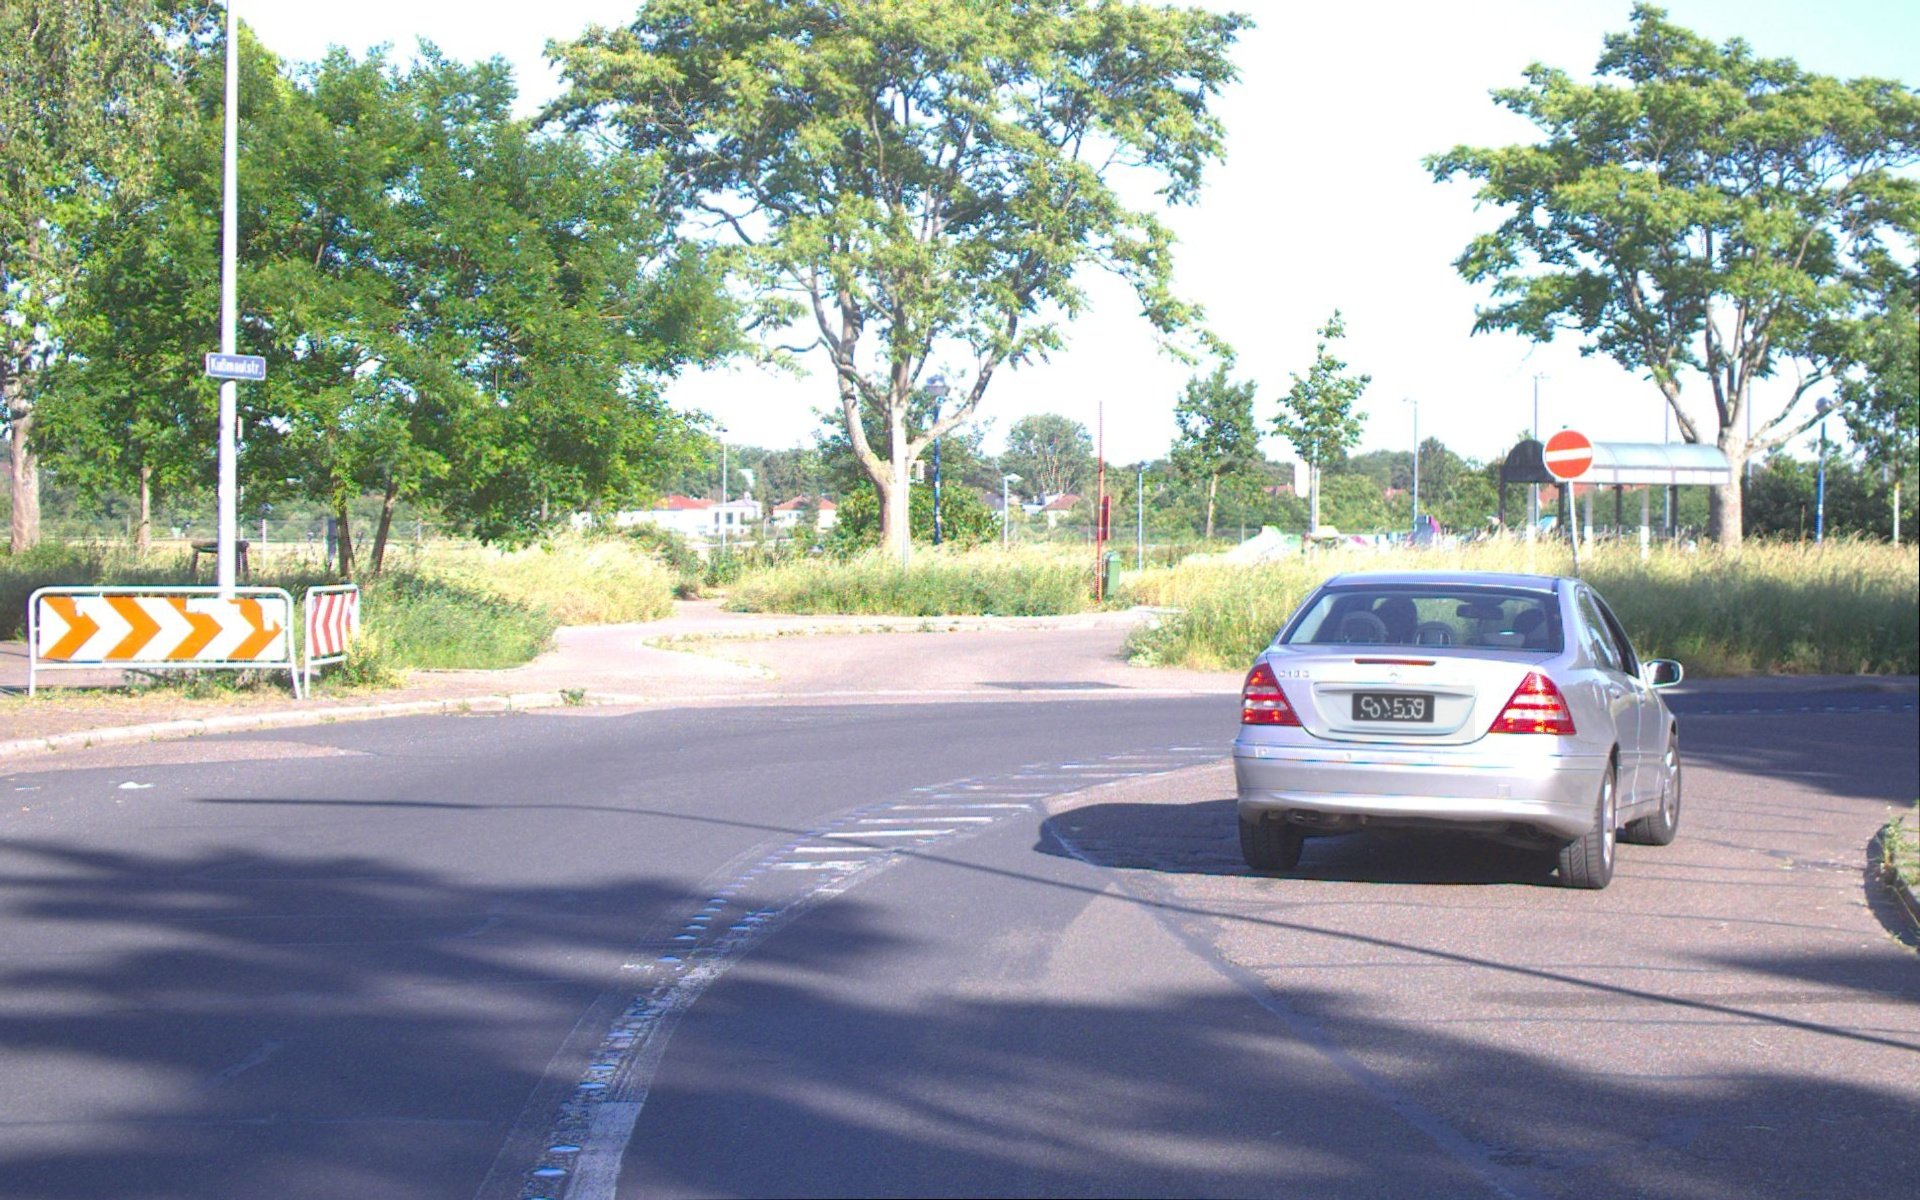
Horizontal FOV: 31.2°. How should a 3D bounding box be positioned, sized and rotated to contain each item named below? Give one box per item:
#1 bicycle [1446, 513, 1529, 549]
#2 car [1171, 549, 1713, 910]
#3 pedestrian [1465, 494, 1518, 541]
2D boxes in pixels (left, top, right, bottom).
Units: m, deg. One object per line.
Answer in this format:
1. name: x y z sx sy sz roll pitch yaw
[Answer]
1. bicycle: 10.786 -1.413 70.290 1.571 0.702 0.654 1 1 -29
2. car: 2.512 0.516 16.936 1.818 1.458 4.357 2 2 19
3. pedestrian: 10.871 -1.696 70.337 0.797 0.937 0.703 0 2 -29
